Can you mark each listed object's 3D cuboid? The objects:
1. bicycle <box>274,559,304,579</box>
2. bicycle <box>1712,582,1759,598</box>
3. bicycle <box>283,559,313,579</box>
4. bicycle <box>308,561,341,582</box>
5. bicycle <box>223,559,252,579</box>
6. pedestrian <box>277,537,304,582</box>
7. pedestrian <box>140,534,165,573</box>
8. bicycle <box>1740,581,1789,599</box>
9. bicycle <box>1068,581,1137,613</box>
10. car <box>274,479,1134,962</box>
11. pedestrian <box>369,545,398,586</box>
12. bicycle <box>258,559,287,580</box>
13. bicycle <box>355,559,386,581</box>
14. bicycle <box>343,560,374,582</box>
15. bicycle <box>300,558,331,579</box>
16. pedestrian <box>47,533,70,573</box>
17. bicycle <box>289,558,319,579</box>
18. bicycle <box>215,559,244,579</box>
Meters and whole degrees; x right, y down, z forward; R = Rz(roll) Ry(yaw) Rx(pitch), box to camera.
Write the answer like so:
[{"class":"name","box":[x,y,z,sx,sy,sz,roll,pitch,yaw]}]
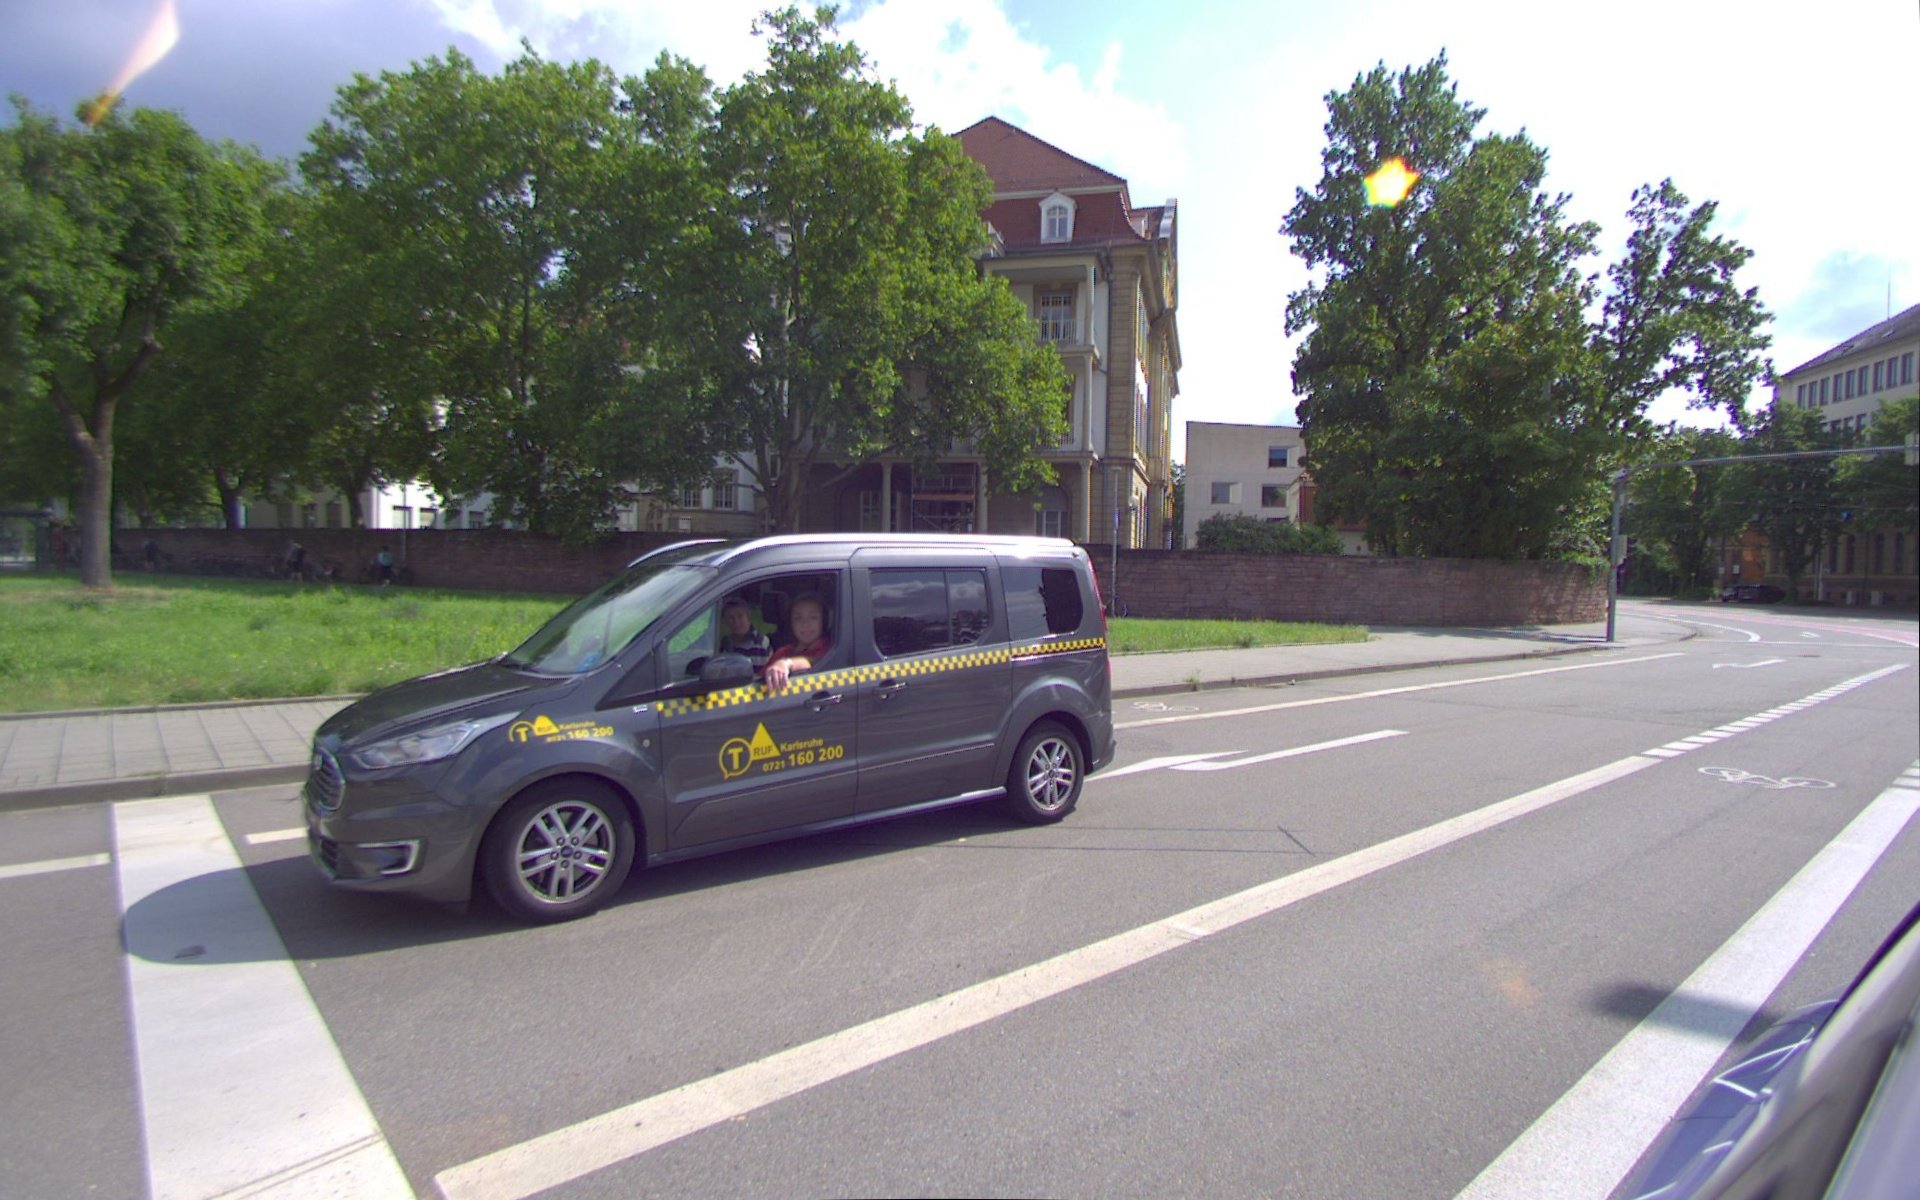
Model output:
[{"class":"bicycle","box":[-28.870,-1.330,43.544,0.478,0.859,0.964,2,2,27]},{"class":"bicycle","box":[64.820,-0.863,84.638,1.053,1.221,2.898,-4,5,-33]},{"class":"bicycle","box":[-28.271,-1.329,43.238,0.478,0.859,0.964,2,2,27]},{"class":"bicycle","box":[-26.456,-1.203,42.159,0.495,0.859,1.064,2,2,27]},{"class":"bicycle","box":[-32.476,-1.404,45.474,0.478,0.859,0.964,2,2,27]},{"class":"pedestrian","box":[-26.455,-1.595,39.993,0.736,1.744,0.657,3,2,30]},{"class":"pedestrian","box":[-38.280,-2.195,47.980,0.871,1.801,0.770,-1,3,-41]},{"class":"bicycle","box":[64.725,-0.812,81.418,1.030,1.221,2.898,-4,5,-33]},{"class":"bicycle","box":[4.455,-0.093,31.740,2.023,0.871,0.859,2,4,3]},{"class":"car","box":[-1.200,0.421,5.973,4.588,1.807,1.853,0,1,-39]},{"class":"pedestrian","box":[-22.462,-1.352,39.424,0.717,1.552,0.720,2,3,25]},{"class":"bicycle","box":[-29.940,-1.331,44.078,0.478,0.859,0.964,2,2,27]},{"class":"bicycle","box":[-23.750,-1.211,40.793,0.478,0.859,0.964,2,2,27]},{"class":"bicycle","box":[-24.379,-1.190,41.045,0.478,0.859,0.964,2,2,27]},{"class":"bicycle","box":[-27.138,-1.327,42.618,0.478,0.859,0.964,2,2,27]},{"class":"pedestrian","box":[-41.069,-2.163,46.101,0.736,1.801,0.770,-1,3,-40]},{"class":"bicycle","box":[-27.803,-1.329,42.924,0.478,0.859,0.964,2,2,27]},{"class":"bicycle","box":[-32.993,-1.405,45.721,0.478,0.859,0.964,2,2,27]}]
